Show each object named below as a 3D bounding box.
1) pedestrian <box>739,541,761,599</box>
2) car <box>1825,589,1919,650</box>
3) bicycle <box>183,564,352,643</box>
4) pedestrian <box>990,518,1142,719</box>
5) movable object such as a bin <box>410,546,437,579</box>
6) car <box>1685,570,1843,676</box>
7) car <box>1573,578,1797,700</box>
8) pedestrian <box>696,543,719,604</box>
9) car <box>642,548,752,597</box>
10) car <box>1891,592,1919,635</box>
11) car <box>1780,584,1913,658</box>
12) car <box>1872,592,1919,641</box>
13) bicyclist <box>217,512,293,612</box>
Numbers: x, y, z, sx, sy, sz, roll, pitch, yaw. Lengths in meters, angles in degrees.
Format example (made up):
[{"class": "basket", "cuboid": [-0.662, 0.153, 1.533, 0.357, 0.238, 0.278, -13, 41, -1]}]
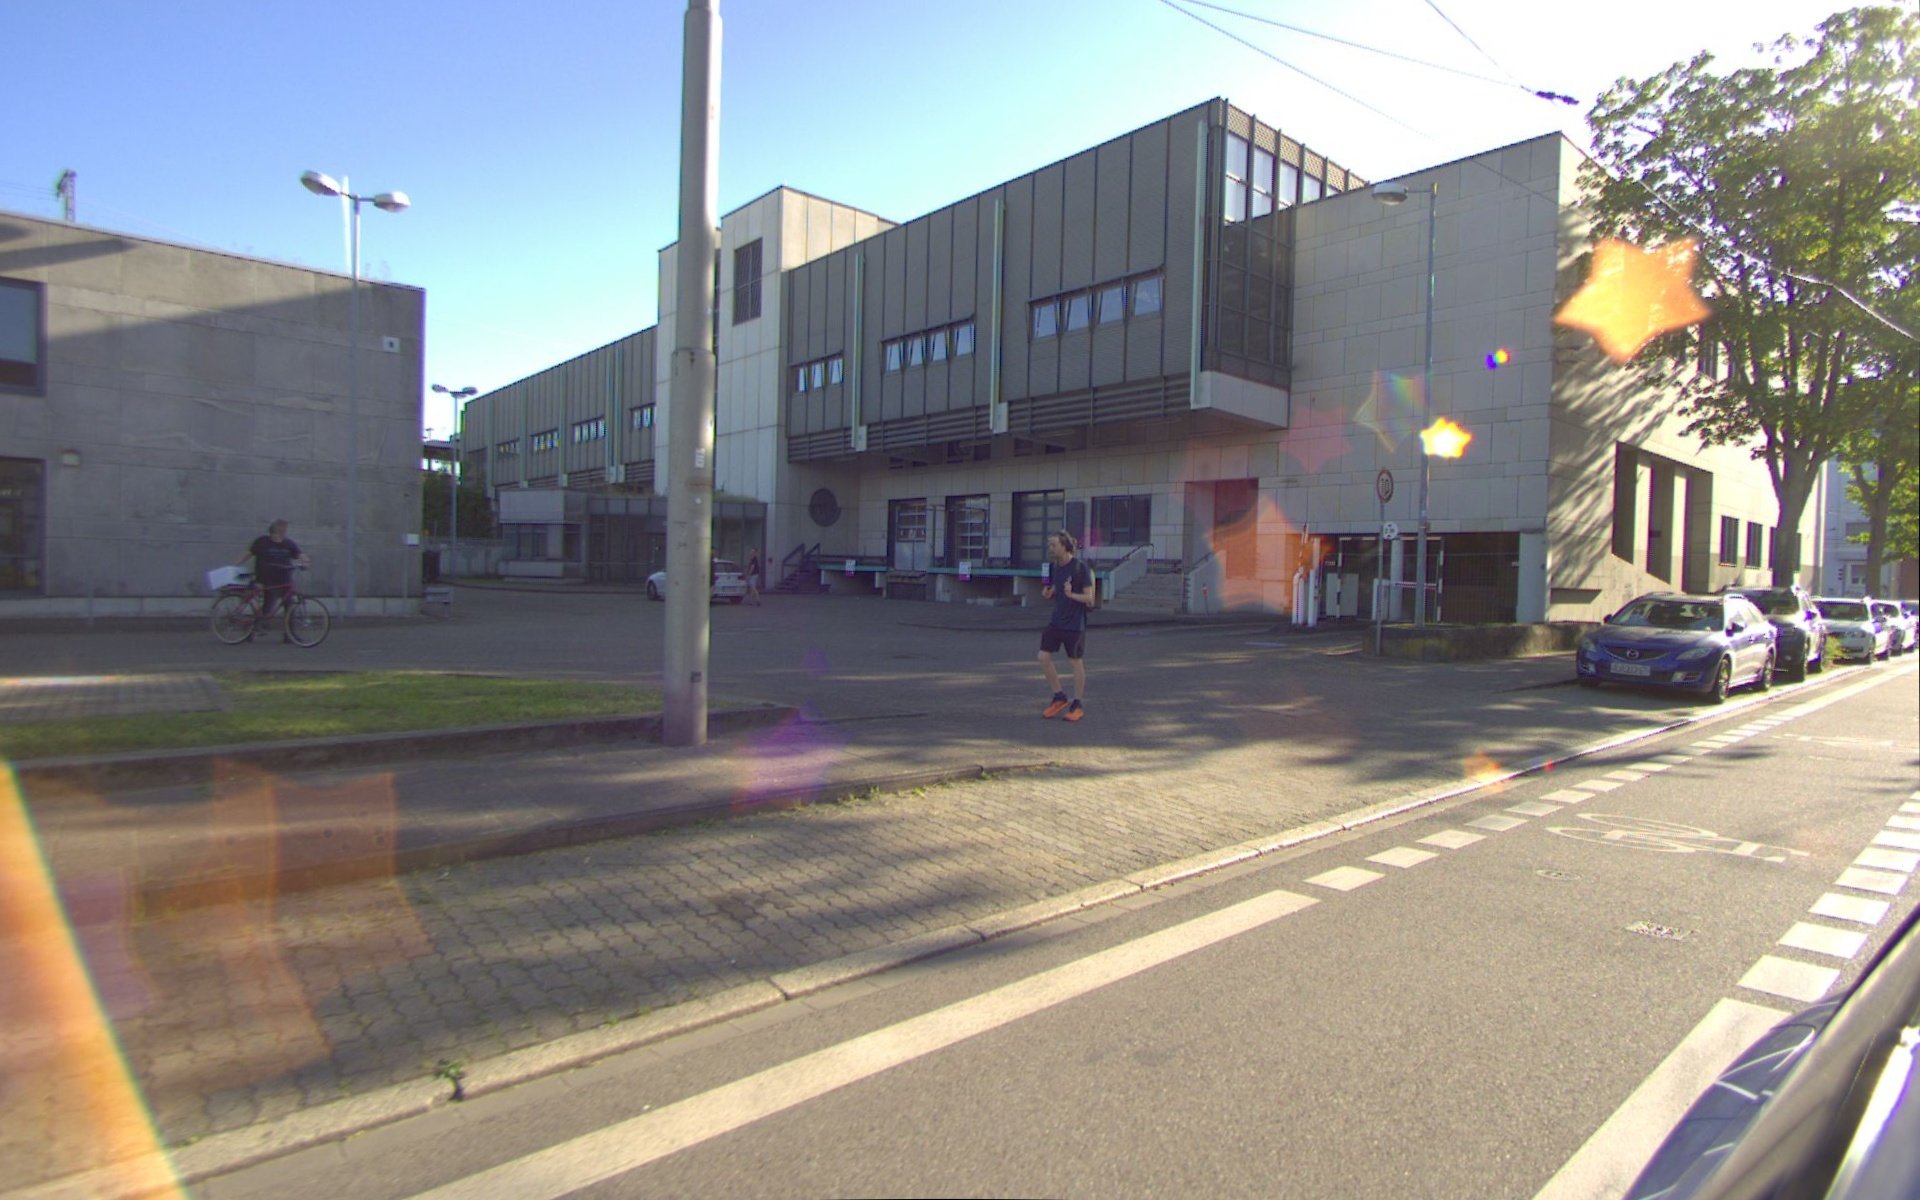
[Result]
[{"class": "pedestrian", "cuboid": [-6.498, -0.927, 31.349, 0.502, 1.803, 0.481, 0, 1, -39]}, {"class": "car", "cuboid": [25.212, 0.464, 27.668, 4.253, 1.424, 1.712, -1, 4, -41]}, {"class": "bicycle", "cuboid": [-9.871, 0.042, 14.463, 1.973, 1.084, 0.753, 0, 1, 4]}, {"class": "pedestrian", "cuboid": [1.040, 0.145, 9.878, 1.281, 1.810, 0.672, -1, 6, -41]}, {"class": "movable object such as a bin", "cuboid": [-21.463, -1.484, 40.473, 0.766, 1.295, 0.903, 0, 1, -41]}, {"class": "car", "cuboid": [15.055, 0.339, 18.868, 4.207, 1.733, 1.743, -1, 2, -44]}, {"class": "car", "cuboid": [11.169, 0.473, 15.461, 4.578, 1.499, 1.706, -1, 5, -41]}, {"class": "pedestrian", "cuboid": [-7.610, -0.800, 30.505, 0.502, 1.803, 0.481, 0, 1, -39]}, {"class": "car", "cuboid": [-8.596, -0.902, 32.877, 1.869, 1.492, 4.081, -1, 2, -41]}, {"class": "car", "cuboid": [35.625, 0.463, 37.176, 3.930, 1.498, 1.653, -1, 2, -41]}, {"class": "car", "cuboid": [20.907, 0.459, 23.804, 4.542, 1.508, 1.716, 0, 3, -41]}, {"class": "car", "cuboid": [31.363, 0.520, 33.211, 4.583, 1.424, 1.680, -1, 4, -43]}, {"class": "bicyclist", "cuboid": [-10.069, -0.539, 14.477, 0.571, 1.401, 0.730, 0, 1, 3]}]
